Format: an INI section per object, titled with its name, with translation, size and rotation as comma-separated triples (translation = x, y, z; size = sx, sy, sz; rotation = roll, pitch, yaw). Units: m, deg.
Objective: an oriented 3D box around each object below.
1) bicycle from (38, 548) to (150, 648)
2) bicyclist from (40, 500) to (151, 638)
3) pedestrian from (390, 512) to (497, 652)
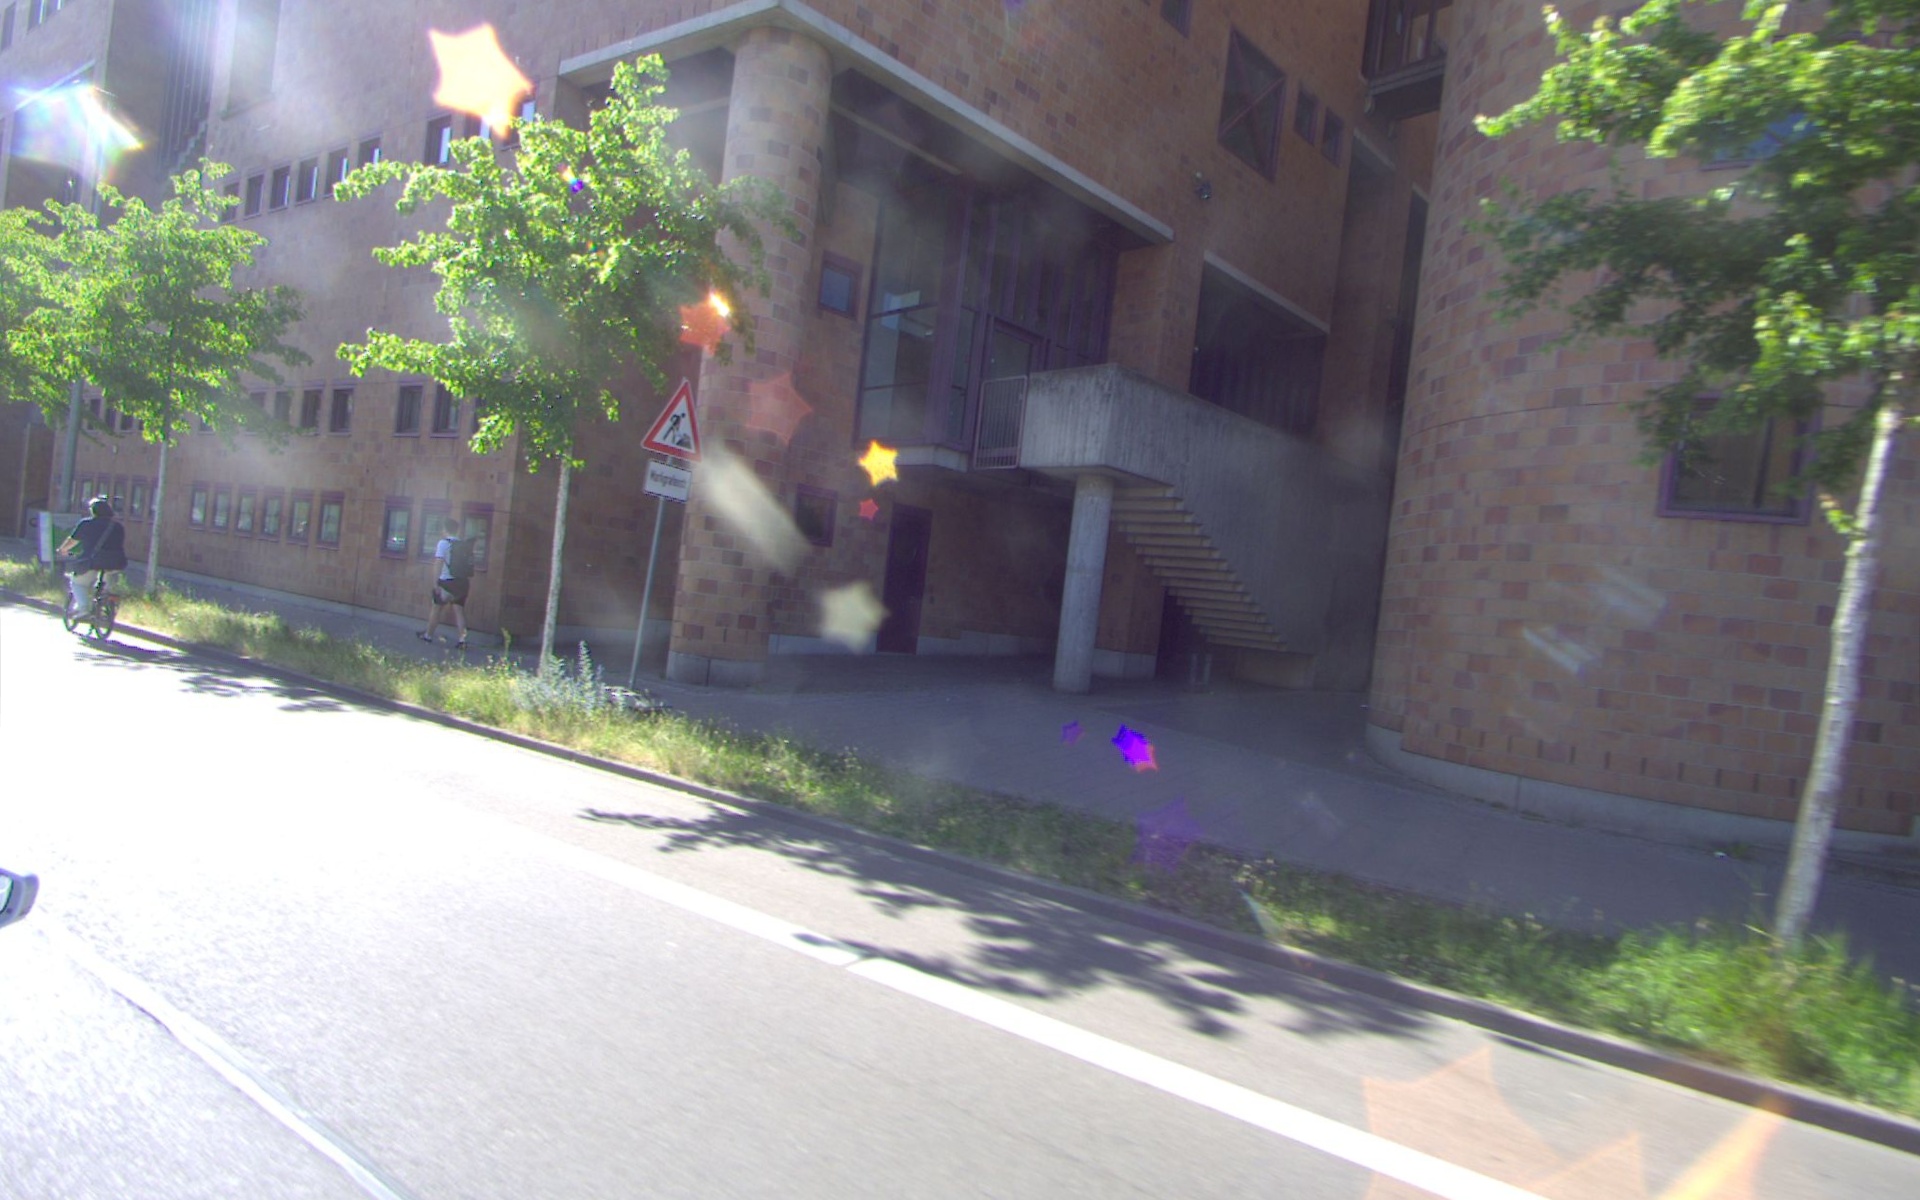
[bicycle]
translation = -10.706, -0.036, 12.425
size = 1.482, 1.039, 0.558
rotation = 7, -1, 33
[bicyclist]
translation = -10.670, -0.384, 12.425
size = 0.894, 1.555, 0.658
rotation = 7, -1, 32
[pedestrian]
translation = -7.532, -0.259, 14.668
size = 1.088, 1.906, 0.788
rotation = 7, 1, 33
